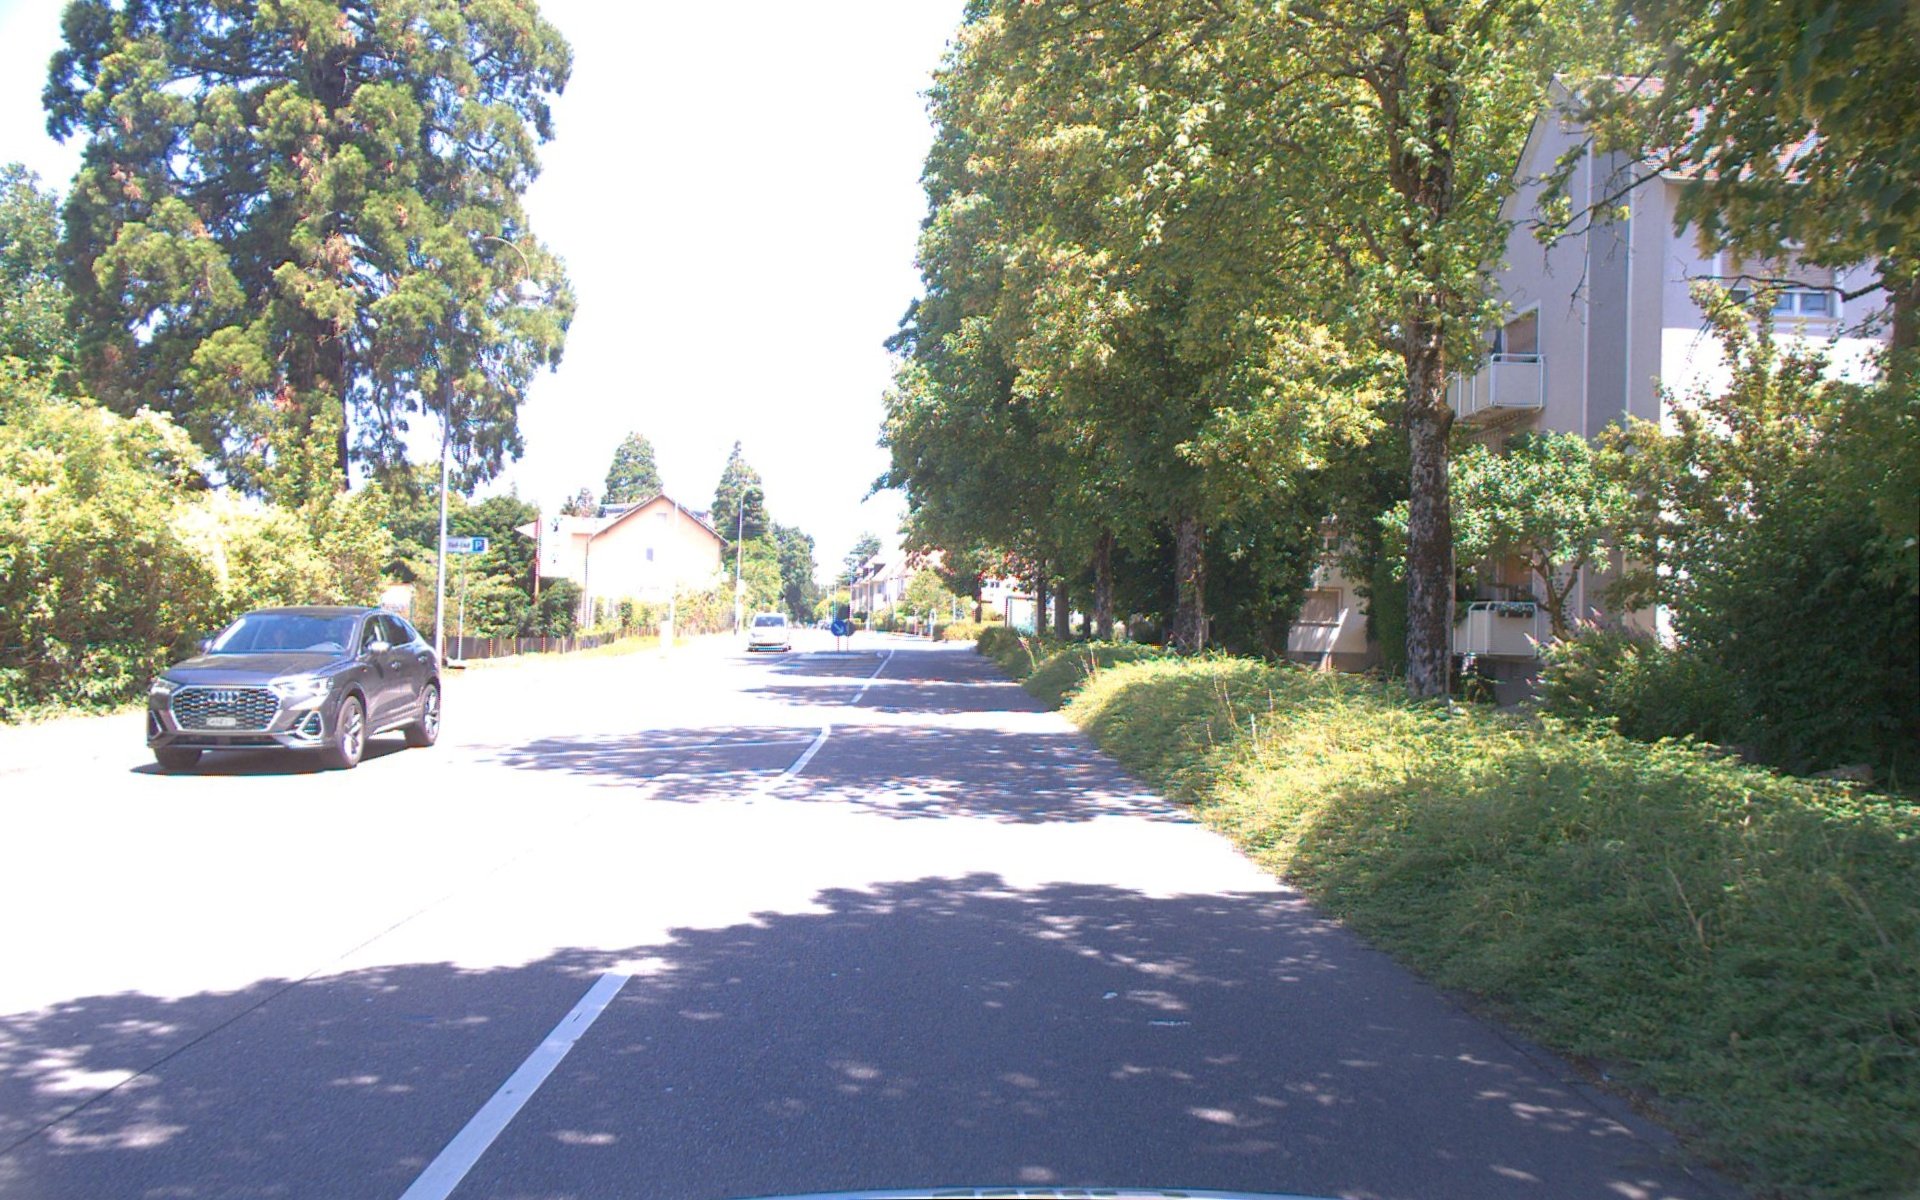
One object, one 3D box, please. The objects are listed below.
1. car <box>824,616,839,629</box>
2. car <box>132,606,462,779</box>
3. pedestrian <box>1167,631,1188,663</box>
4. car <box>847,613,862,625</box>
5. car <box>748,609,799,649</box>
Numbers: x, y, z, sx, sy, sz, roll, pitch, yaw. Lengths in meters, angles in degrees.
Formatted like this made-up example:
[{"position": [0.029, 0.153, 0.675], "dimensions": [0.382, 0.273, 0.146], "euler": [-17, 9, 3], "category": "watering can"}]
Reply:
[{"position": [-17.929, 3.129, 231.169], "dimensions": [1.778, 1.748, 3.999], "euler": [1, -1, 0], "category": "car"}, {"position": [-6.741, 0.872, 17.361], "dimensions": [1.757, 1.563, 4.314], "euler": [1, -1, -1], "category": "car"}, {"position": [8.180, 1.770, 62.227], "dimensions": [0.689, 1.180, 0.754], "euler": [1, -1, 3], "category": "pedestrian"}, {"position": [-14.749, 2.659, 231.226], "dimensions": [1.778, 1.748, 3.999], "euler": [1, -1, 0], "category": "car"}, {"position": [-8.155, 1.253, 72.490], "dimensions": [1.874, 1.719, 4.124], "euler": [0, -1, -2], "category": "car"}]
